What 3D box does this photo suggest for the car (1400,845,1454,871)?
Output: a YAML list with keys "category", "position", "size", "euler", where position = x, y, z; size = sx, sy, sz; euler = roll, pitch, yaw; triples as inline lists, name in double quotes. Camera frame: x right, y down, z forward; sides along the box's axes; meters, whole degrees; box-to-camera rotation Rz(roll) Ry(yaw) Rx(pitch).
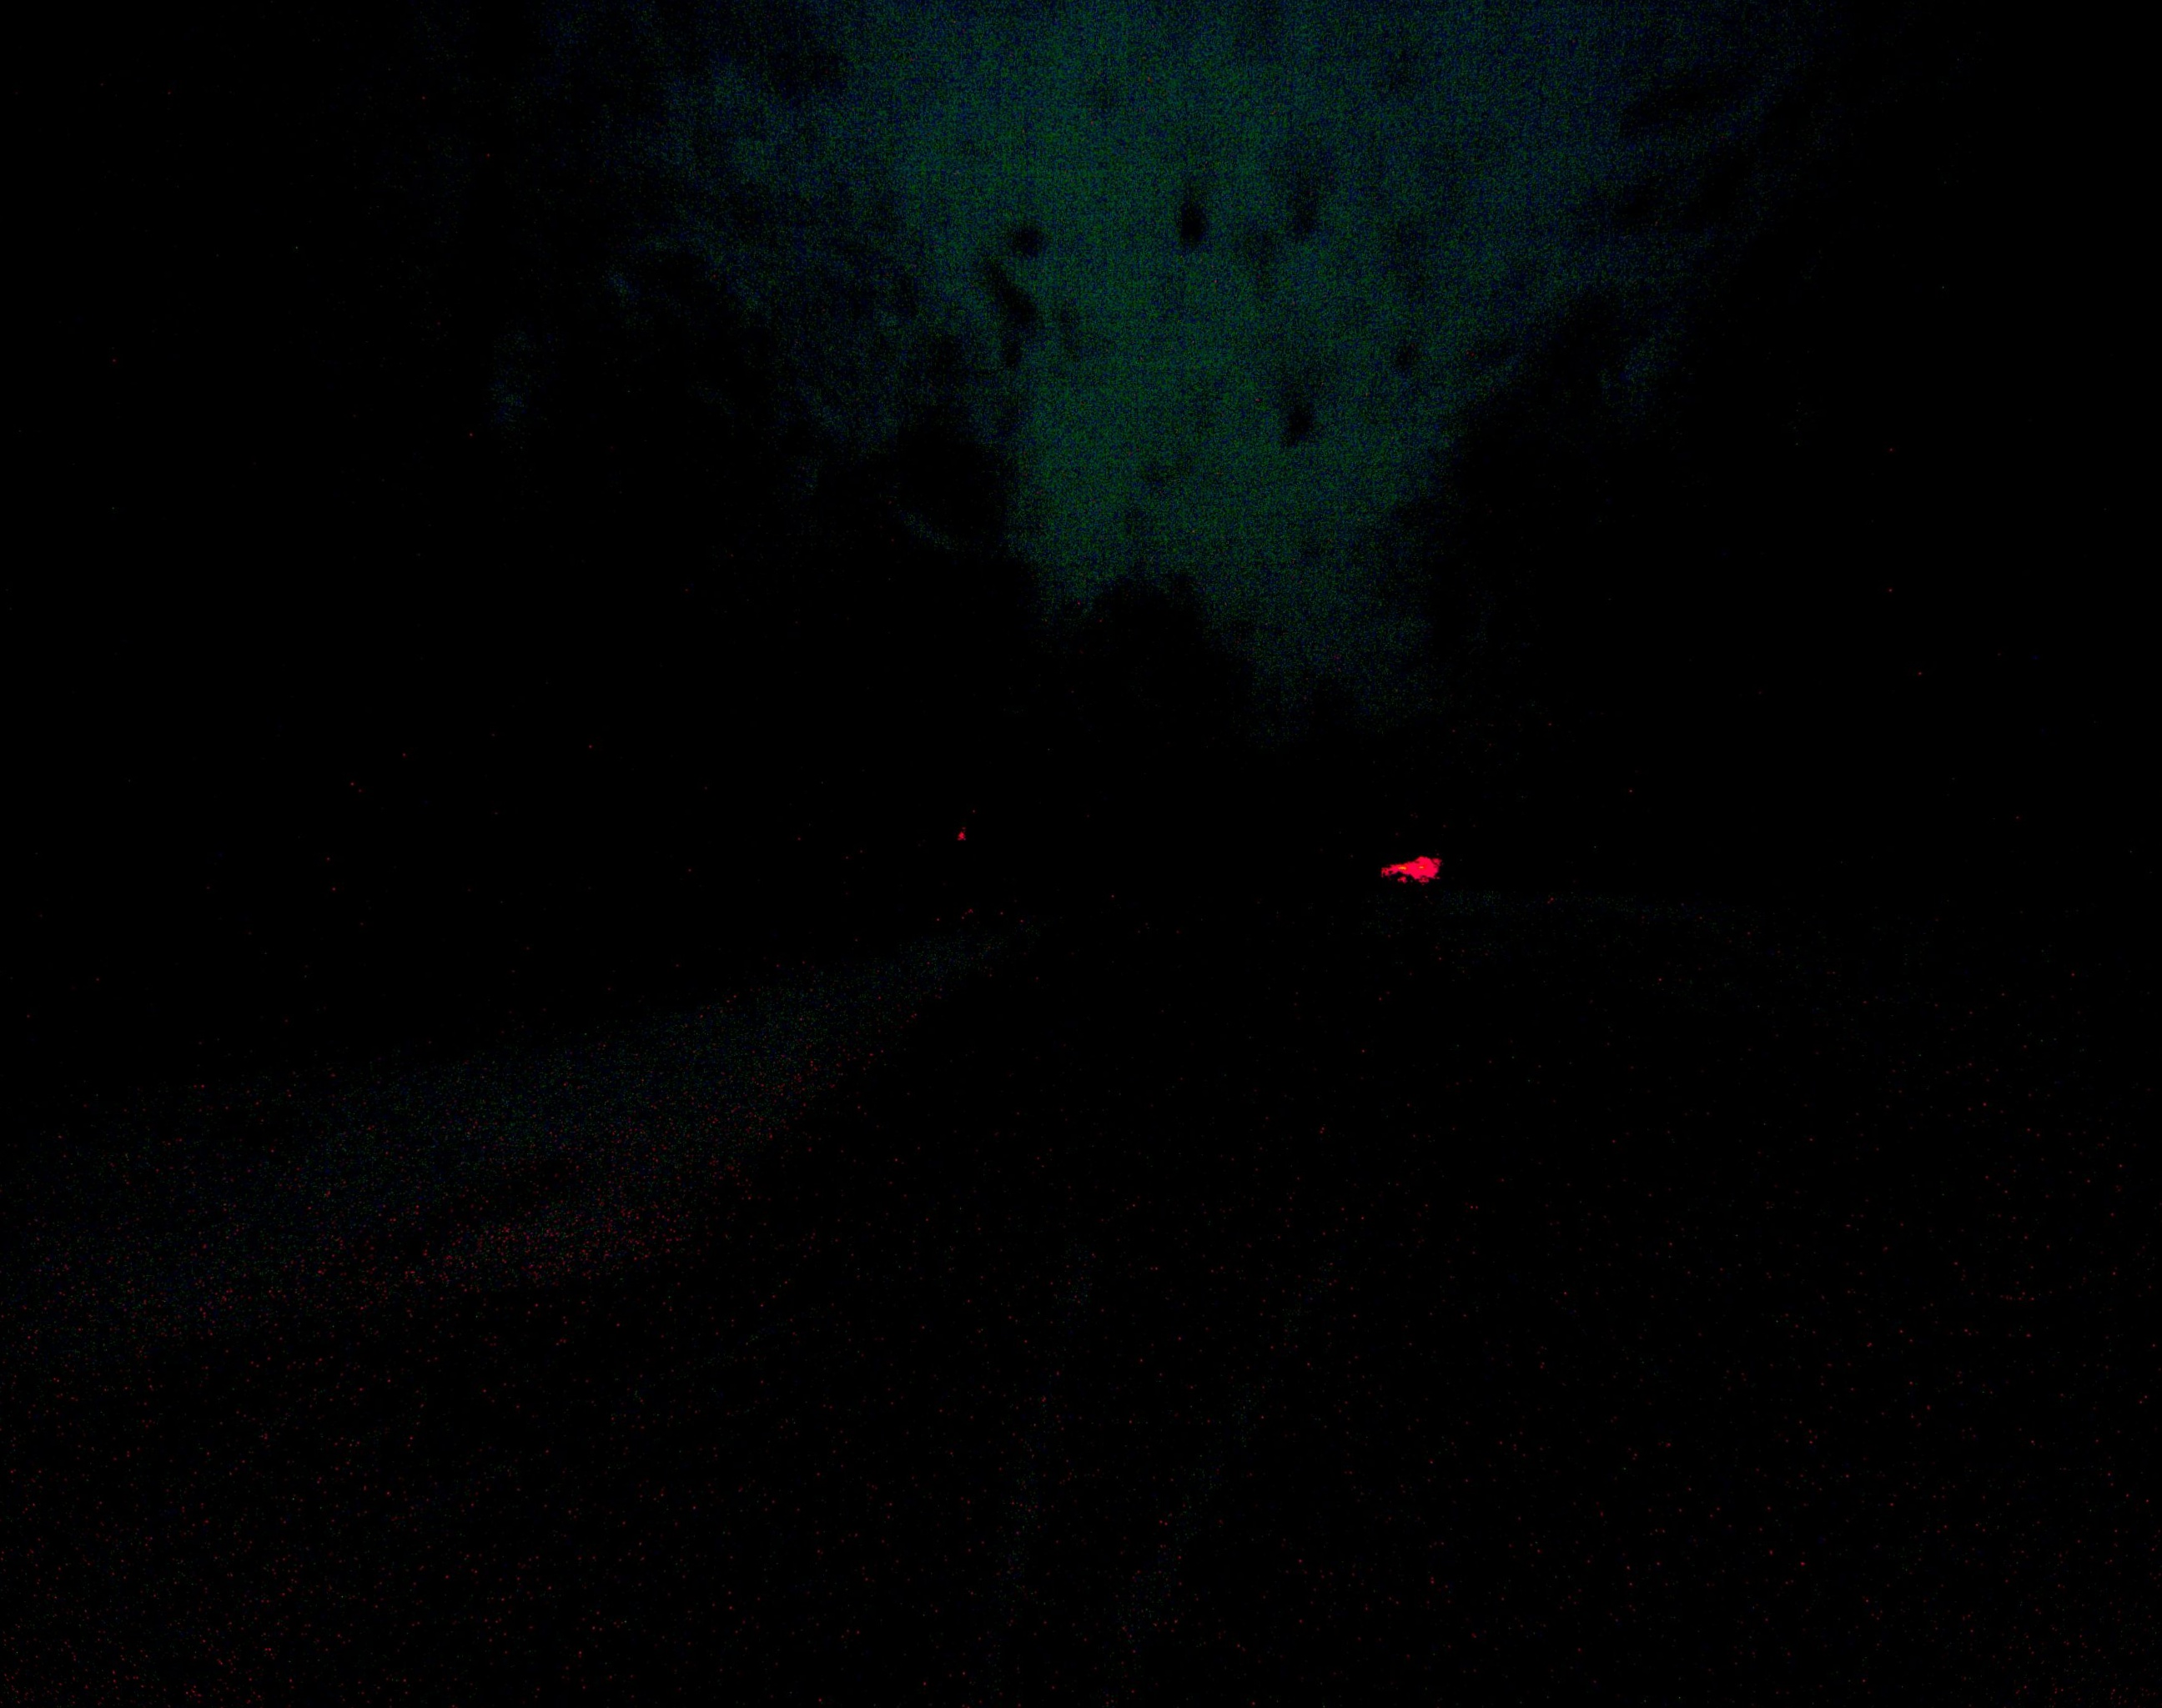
- category: "car"
  position: [21.558, 0.250, 47.257]
  size: [1.775, 1.484, 4.558]
  euler: [-1, -1, 42]
